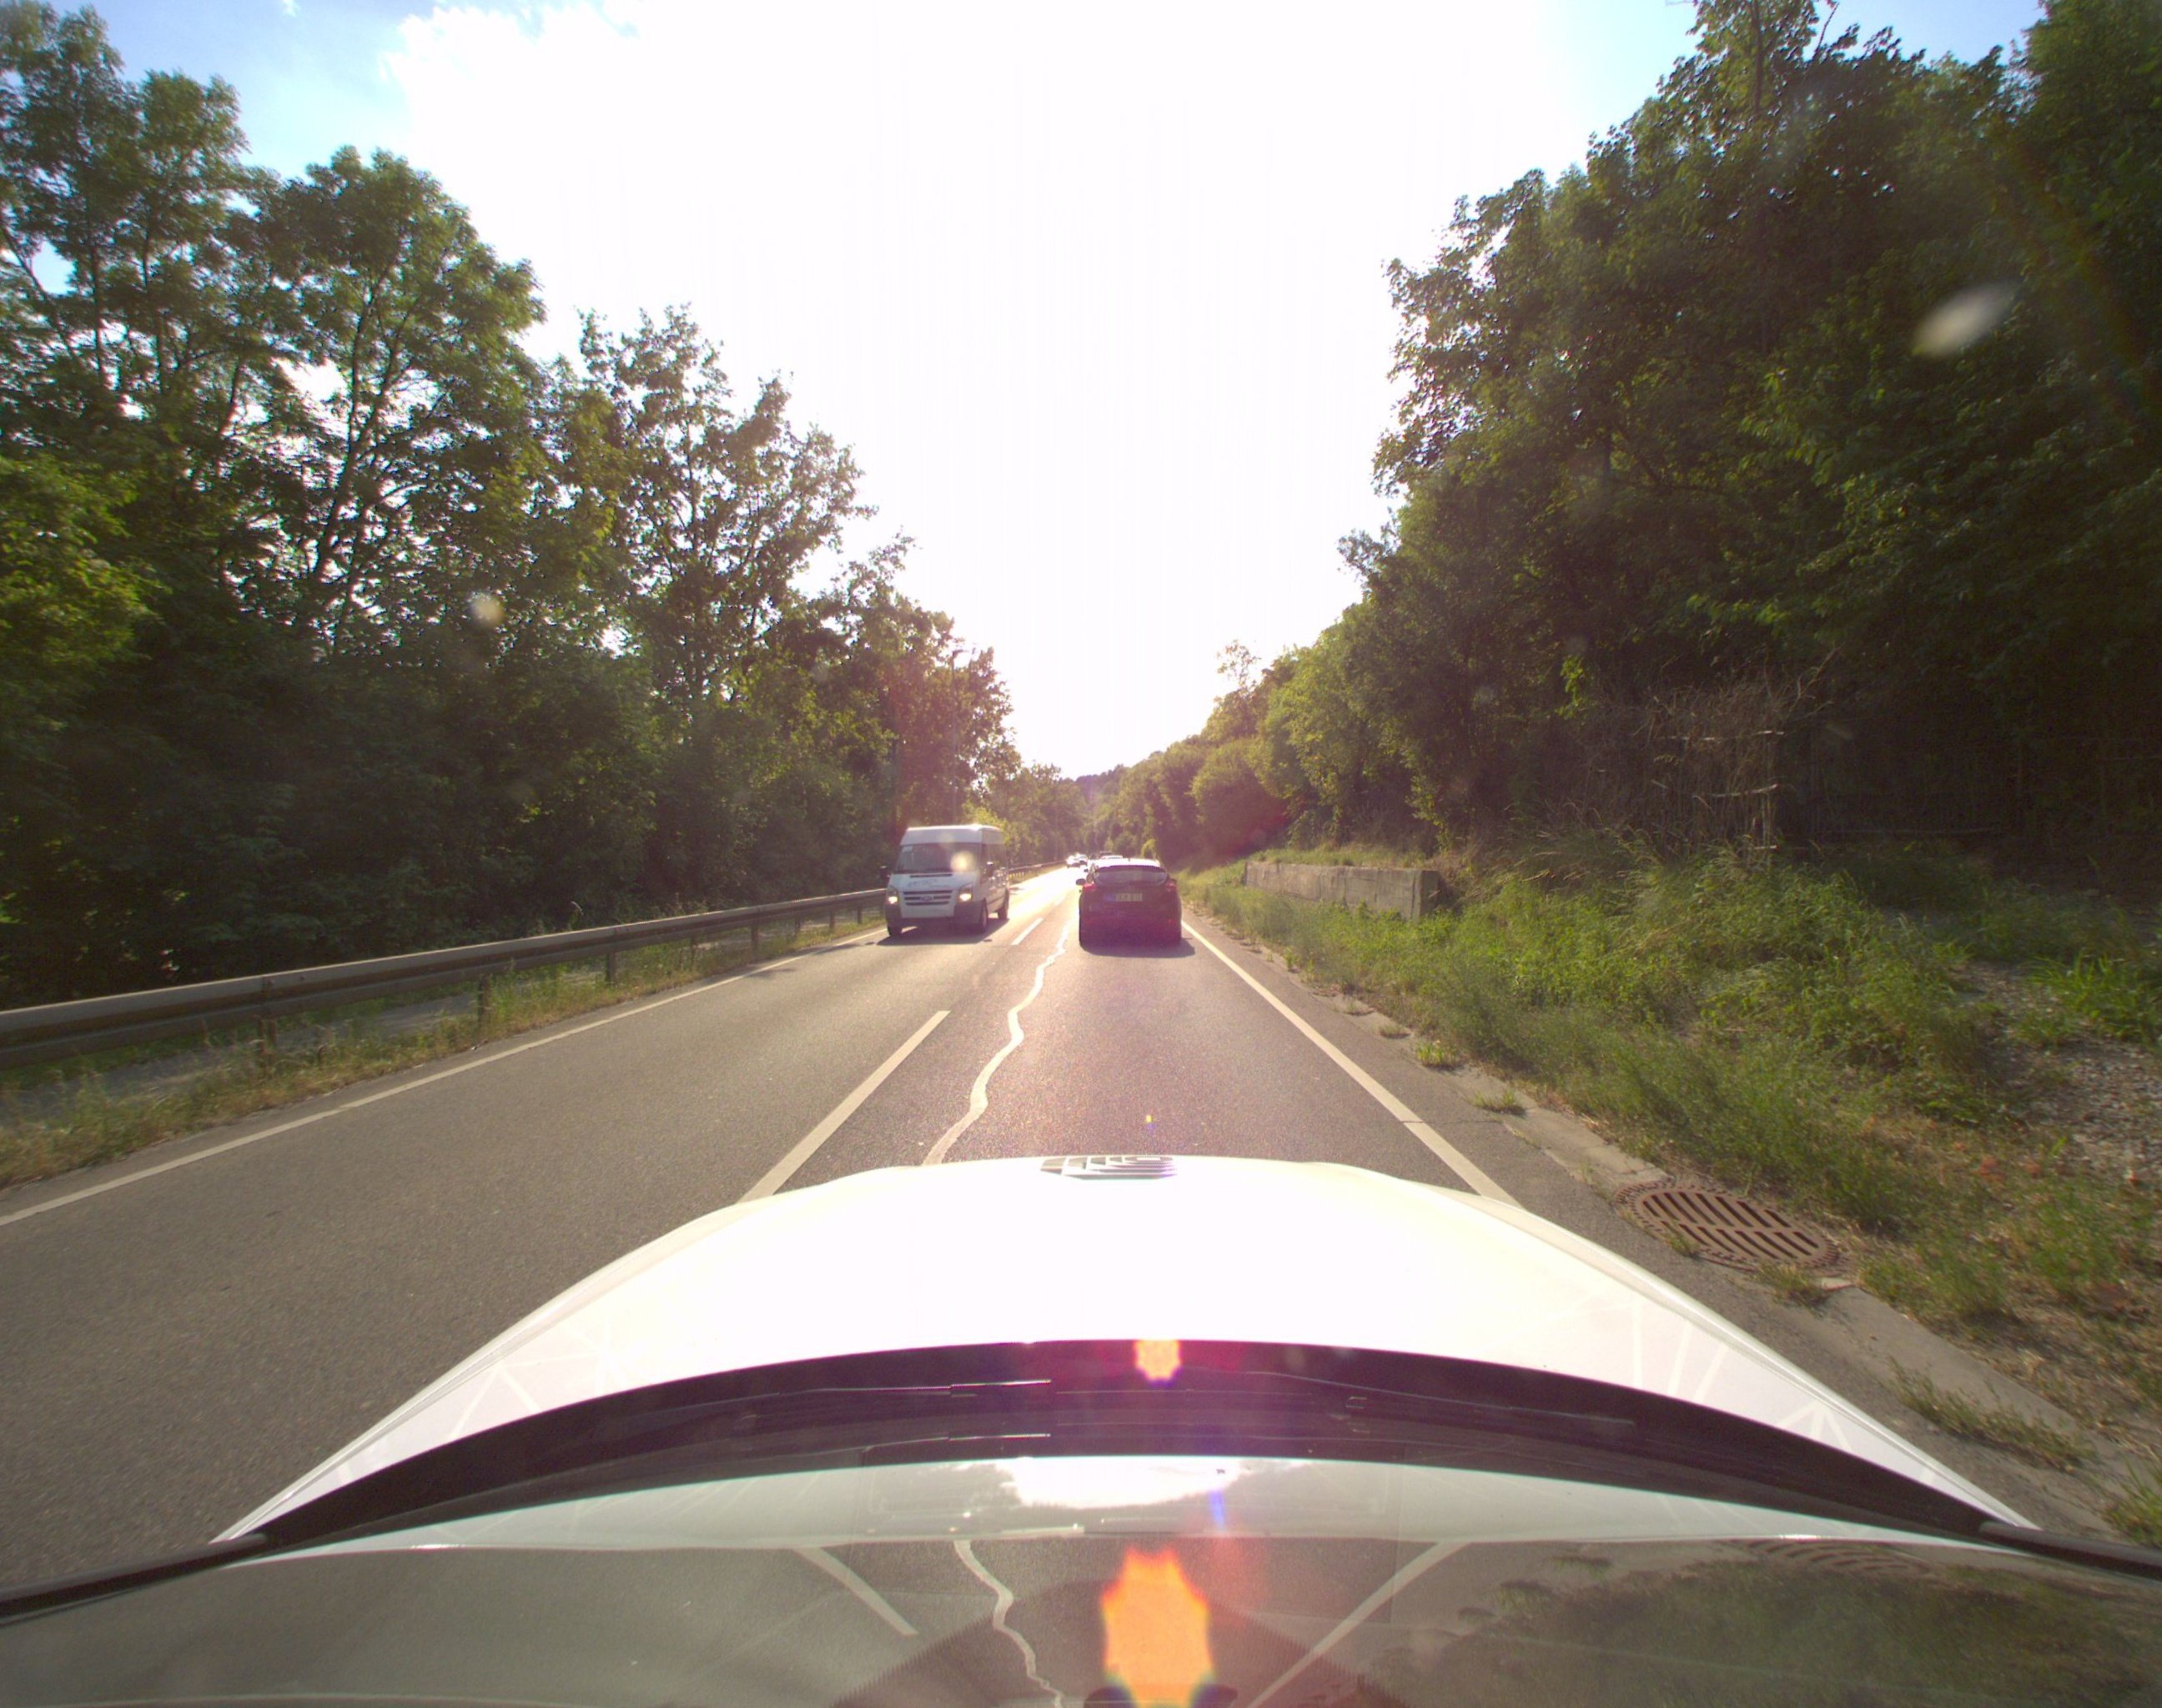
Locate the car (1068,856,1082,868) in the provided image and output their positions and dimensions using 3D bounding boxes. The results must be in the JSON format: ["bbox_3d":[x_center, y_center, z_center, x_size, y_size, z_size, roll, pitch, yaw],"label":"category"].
[{"bbox_3d":[-0.730,1.012,102.866,1.675,1.442,4.001,-2,0,1],"label":"car"}]

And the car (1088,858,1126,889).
[{"bbox_3d":[1.319,0.941,41.079,1.798,1.391,4.002,-2,0,2],"label":"car"}]

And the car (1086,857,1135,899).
[{"bbox_3d":[1.137,0.837,30.431,1.654,1.418,4.003,-1,0,3],"label":"car"}]

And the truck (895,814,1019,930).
[{"bbox_3d":[-2.841,0.391,20.094,2.050,2.385,5.873,-2,0,0],"label":"truck"}]

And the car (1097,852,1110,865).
[{"bbox_3d":[3.240,0.588,117.814,1.856,1.780,4.002,-2,0,2],"label":"car"}]

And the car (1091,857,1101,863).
[{"bbox_3d":[3.877,1.437,208.111,1.991,1.519,3.992,-1,0,-6],"label":"car"}]

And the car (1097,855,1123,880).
[{"bbox_3d":[1.925,0.861,54.229,1.624,1.596,4.002,-1,0,2],"label":"car"}]

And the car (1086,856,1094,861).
[{"bbox_3d":[2.666,1.403,242.338,1.991,1.519,3.992,-1,0,-6],"label":"car"}]

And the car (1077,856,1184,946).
[{"bbox_3d":[0.868,0.778,15.338,1.733,1.456,4.001,-1,0,2],"label":"car"}]

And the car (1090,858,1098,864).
[{"bbox_3d":[3.631,1.949,229.458,1.991,1.519,3.992,-1,0,-6],"label":"car"}]

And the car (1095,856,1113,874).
[{"bbox_3d":[2.118,0.983,75.040,1.624,1.596,4.002,-1,0,2],"label":"car"}]

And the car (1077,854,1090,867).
[{"bbox_3d":[0.340,0.916,118.298,1.741,1.717,4.223,-2,0,2],"label":"car"}]
